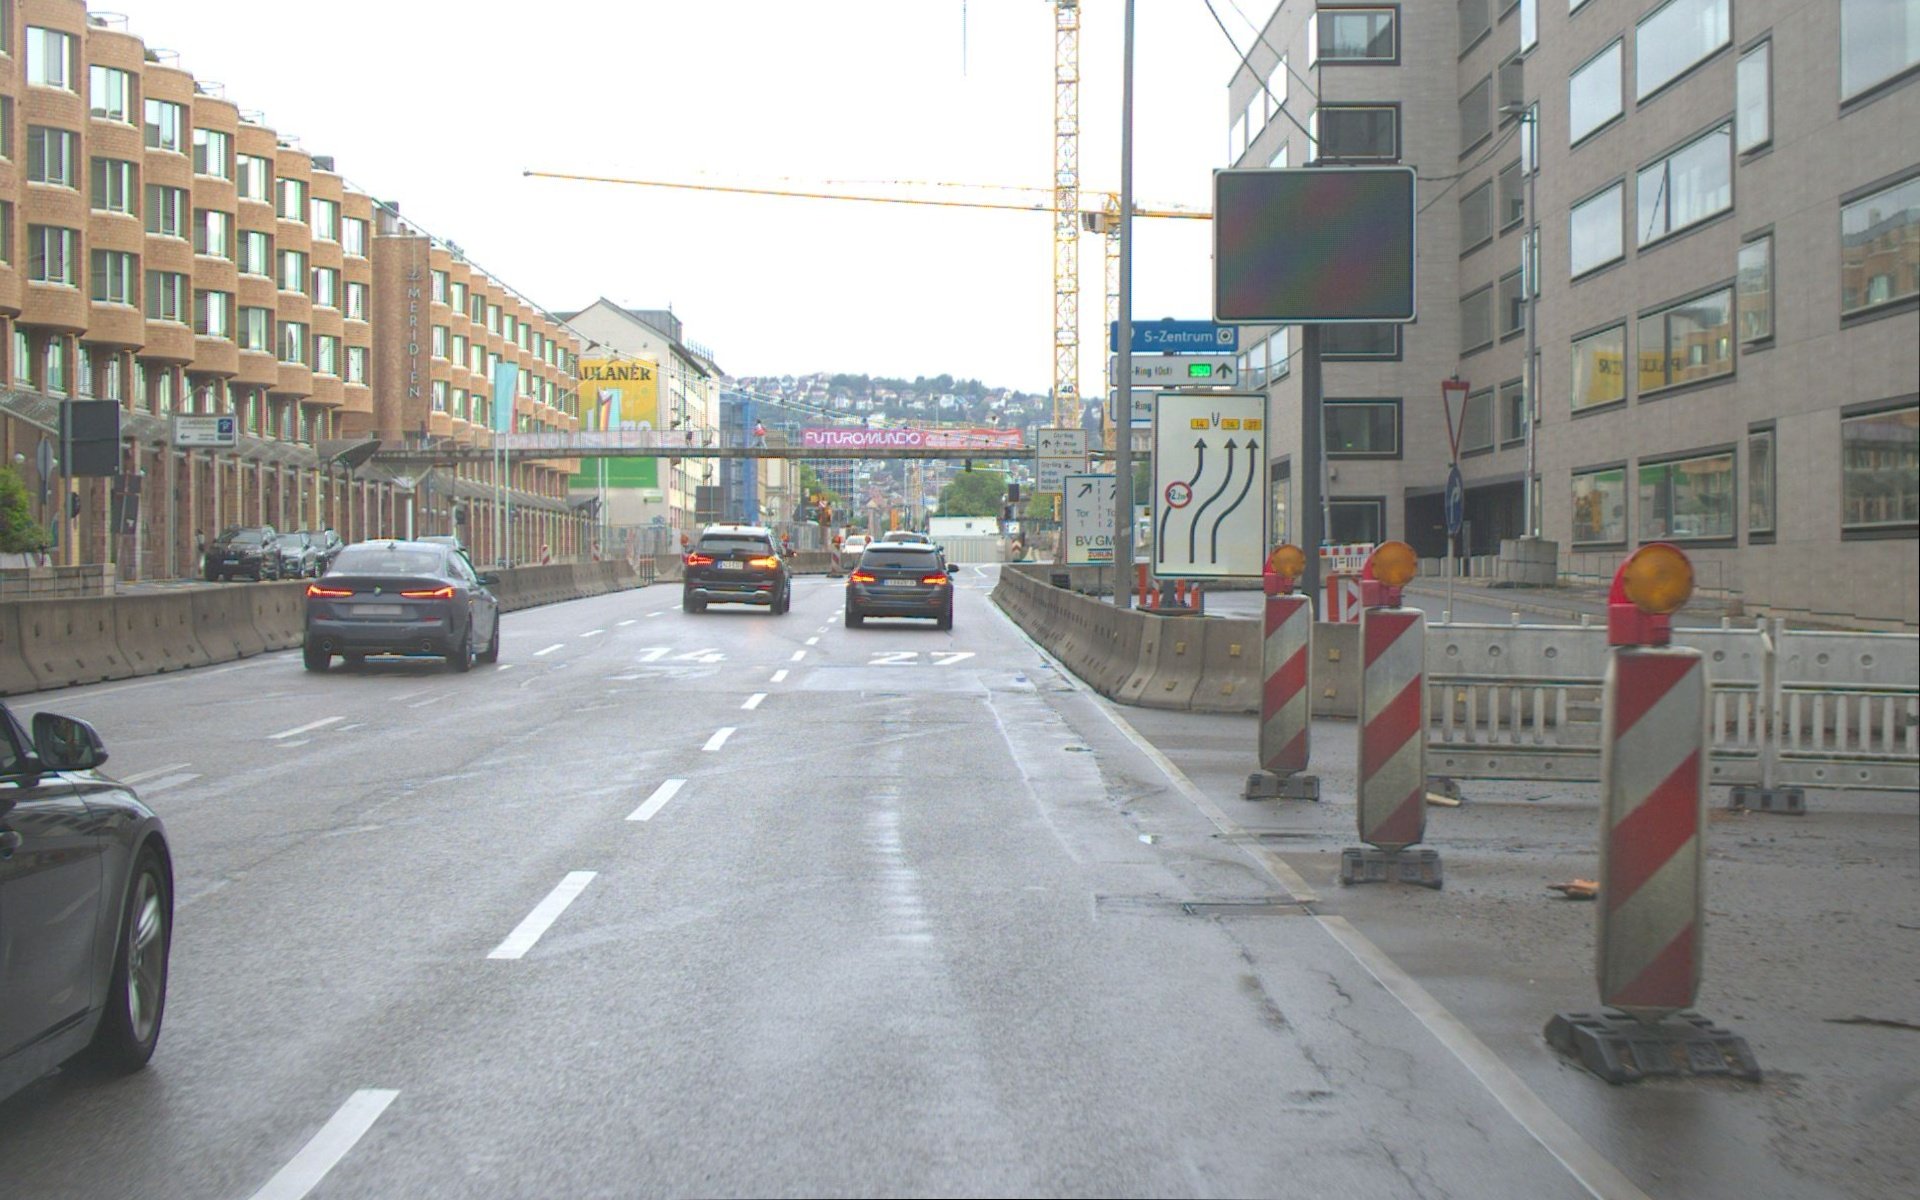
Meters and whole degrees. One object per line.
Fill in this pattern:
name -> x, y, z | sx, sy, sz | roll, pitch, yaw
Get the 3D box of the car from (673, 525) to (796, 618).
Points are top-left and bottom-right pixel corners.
car -> -4.266, -0.556, 65.444 | 1.900, 1.687, 4.000 | 0, 1, 2

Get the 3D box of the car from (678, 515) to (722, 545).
car -> -14.291, -3.852, 188.850 | 1.993, 1.614, 4.763 | 0, 1, 1

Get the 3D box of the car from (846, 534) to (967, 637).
car -> -0.876, -0.269, 58.439 | 1.900, 1.687, 4.000 | 0, 1, 1

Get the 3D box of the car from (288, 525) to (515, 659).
car -> -6.246, -0.119, 38.913 | 1.790, 1.421, 4.384 | 0, 1, 1

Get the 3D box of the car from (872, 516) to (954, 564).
car -> -1.656, -2.149, 123.181 | 1.901, 1.687, 3.997 | 0, 1, 15

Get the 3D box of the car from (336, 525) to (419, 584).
car -> -15.391, -1.227, 91.007 | 1.602, 1.437, 3.658 | -1, 2, -1

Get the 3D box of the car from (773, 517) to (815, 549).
car -> -8.458, -3.398, 175.464 | 1.993, 1.614, 4.763 | -1, 1, -2

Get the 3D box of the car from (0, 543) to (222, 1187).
car -> -3.049, 0.593, 7.894 | 1.791, 1.421, 4.614 | 1, 1, -1

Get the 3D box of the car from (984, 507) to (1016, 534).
car -> 2.579, -5.098, 219.839 | 1.900, 1.687, 4.000 | 0, 1, 2

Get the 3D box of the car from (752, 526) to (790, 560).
car -> -11.269, -3.401, 205.513 | 1.993, 2.007, 4.000 | 0, 1, 1

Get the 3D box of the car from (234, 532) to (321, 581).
car -> -23.106, -1.475, 116.575 | 1.993, 1.614, 4.763 | -1, 1, 0

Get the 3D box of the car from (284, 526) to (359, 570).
car -> -23.932, -1.945, 128.943 | 1.993, 1.614, 4.318 | -1, 1, 0
